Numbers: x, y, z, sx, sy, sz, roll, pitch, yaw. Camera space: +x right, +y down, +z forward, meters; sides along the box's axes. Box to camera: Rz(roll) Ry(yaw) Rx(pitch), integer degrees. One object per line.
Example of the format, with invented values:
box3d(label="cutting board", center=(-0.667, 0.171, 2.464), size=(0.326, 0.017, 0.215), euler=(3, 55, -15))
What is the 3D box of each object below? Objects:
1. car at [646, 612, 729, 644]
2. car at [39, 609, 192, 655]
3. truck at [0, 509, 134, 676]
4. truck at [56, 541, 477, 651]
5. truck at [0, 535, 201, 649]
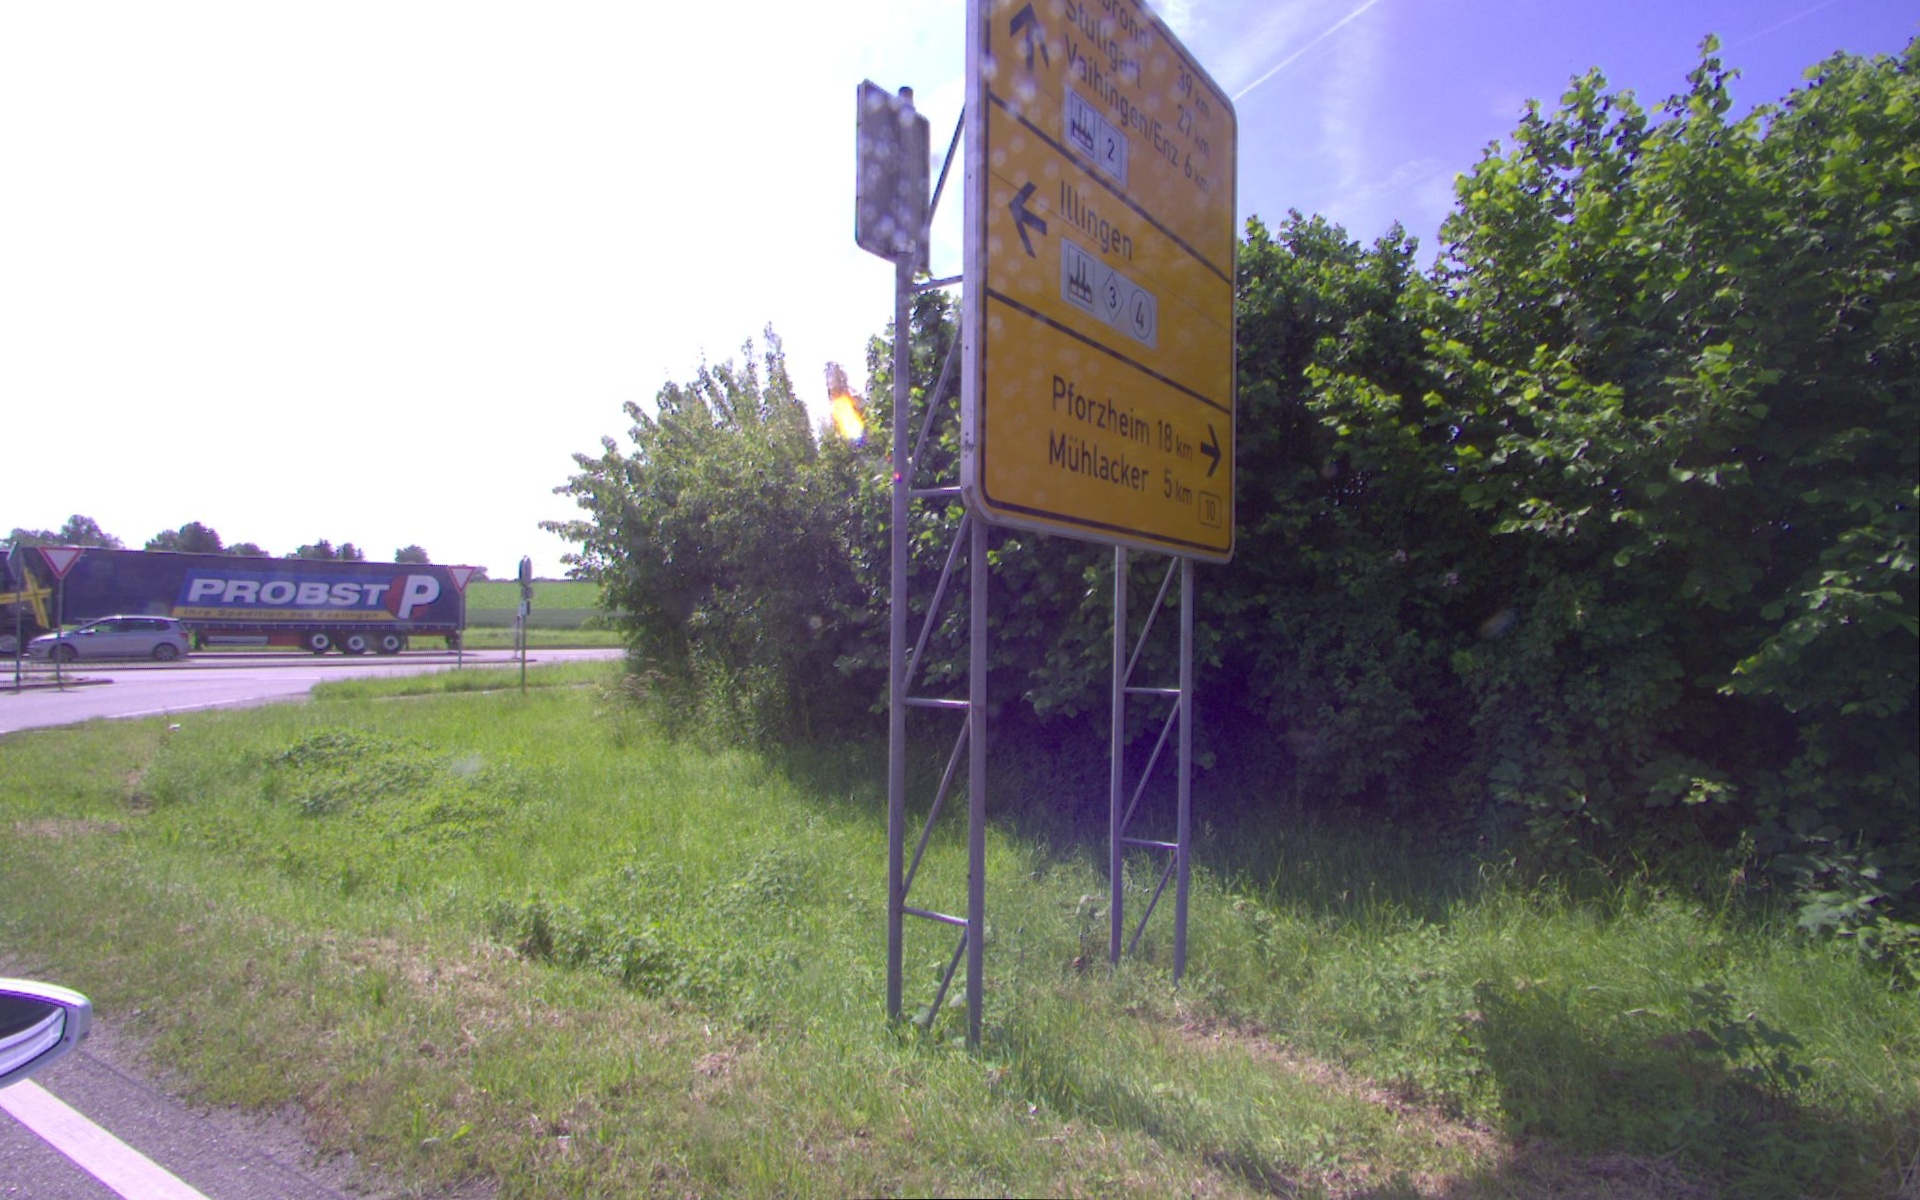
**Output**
box3d(label="car", center=(-14.394, 1.520, 52.981), size=(3.943, 1.616, 1.657), euler=(2, -3, -29))
box3d(label="car", center=(-29.212, 1.123, 34.705), size=(3.969, 1.510, 1.523), euler=(2, -2, -43))
box3d(label="truck", center=(-24.967, -0.193, 25.434), size=(2.767, 4.114, 5.797), euler=(1, -1, 42))
box3d(label="truck", center=(-28.369, 0.066, 42.163), size=(14.173, 4.031, 3.002), euler=(2, -1, -40))
box3d(label="truck", center=(-33.264, -0.219, 38.074), size=(6.876, 4.046, 3.002), euler=(2, -1, -39))
